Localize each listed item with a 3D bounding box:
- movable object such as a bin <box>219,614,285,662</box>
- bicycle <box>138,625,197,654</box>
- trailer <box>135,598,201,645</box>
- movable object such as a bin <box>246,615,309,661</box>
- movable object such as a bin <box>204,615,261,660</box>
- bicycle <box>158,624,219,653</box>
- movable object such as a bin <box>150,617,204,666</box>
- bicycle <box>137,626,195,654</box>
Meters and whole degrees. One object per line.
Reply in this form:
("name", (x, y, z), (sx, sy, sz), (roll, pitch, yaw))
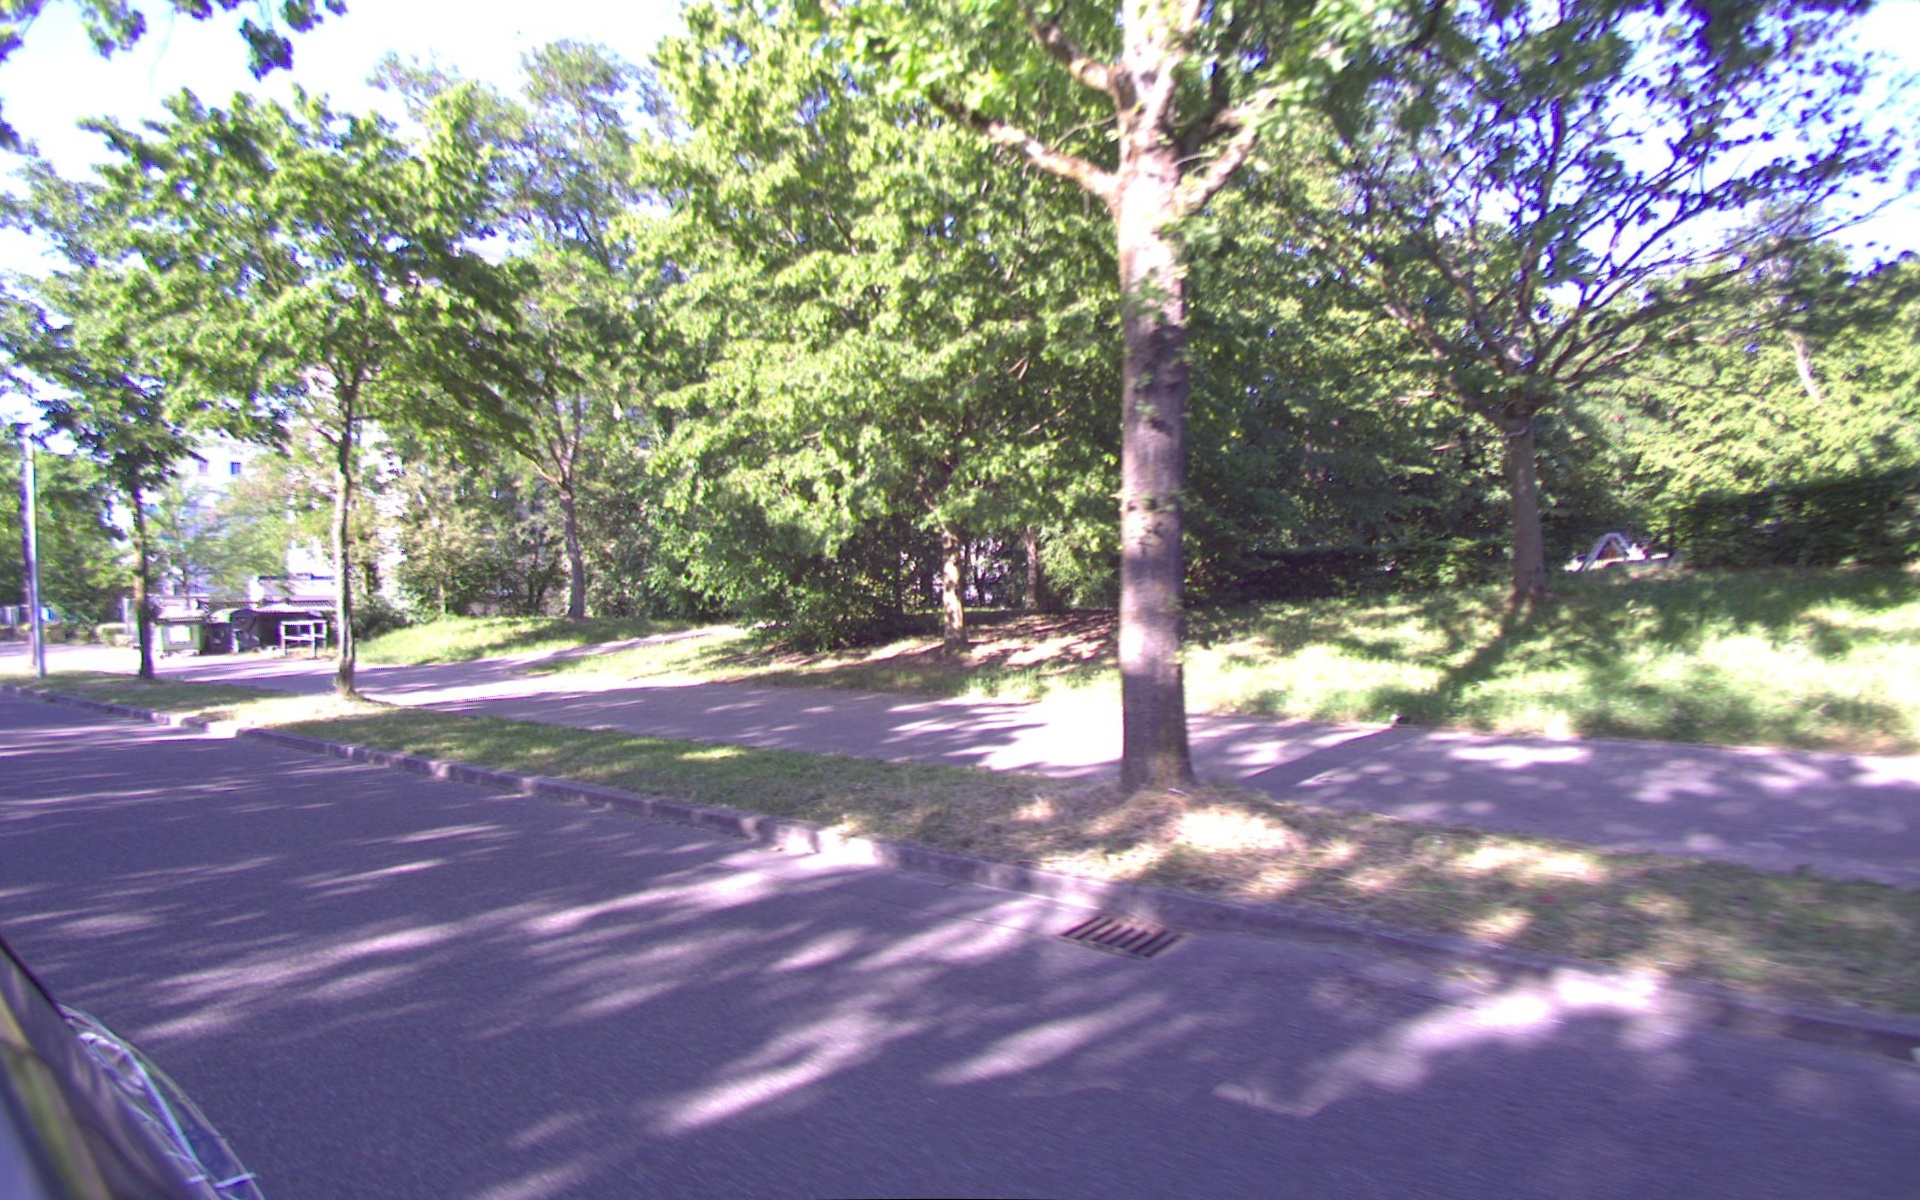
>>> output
("movable object such as a bin", (-22.188, 1.187, 31.759), (1.258, 1.446, 1.143), (-1, -1, 6))
("bicycle", (-31.521, 1.561, 40.290), (0.398, 1.034, 1.844), (-1, 0, 27))
("trailer", (-39.106, 1.068, 49.918), (4.346, 2.136, 1.844), (-2, 2, 43))
("movable object such as a bin", (-22.234, 1.214, 32.971), (1.258, 1.446, 1.143), (-1, -1, 6))
("movable object such as a bin", (-24.243, 1.230, 33.747), (1.251, 1.446, 1.330), (-1, -1, -22))
("bicycle", (-29.958, 1.468, 39.310), (0.398, 1.034, 1.903), (-1, 0, 27))
("movable object such as a bin", (-24.487, 1.282, 31.693), (1.252, 1.446, 1.184), (-1, -1, -34))
("bicycle", (-32.158, 1.594, 40.997), (0.398, 1.034, 1.858), (-1, 0, 27))
